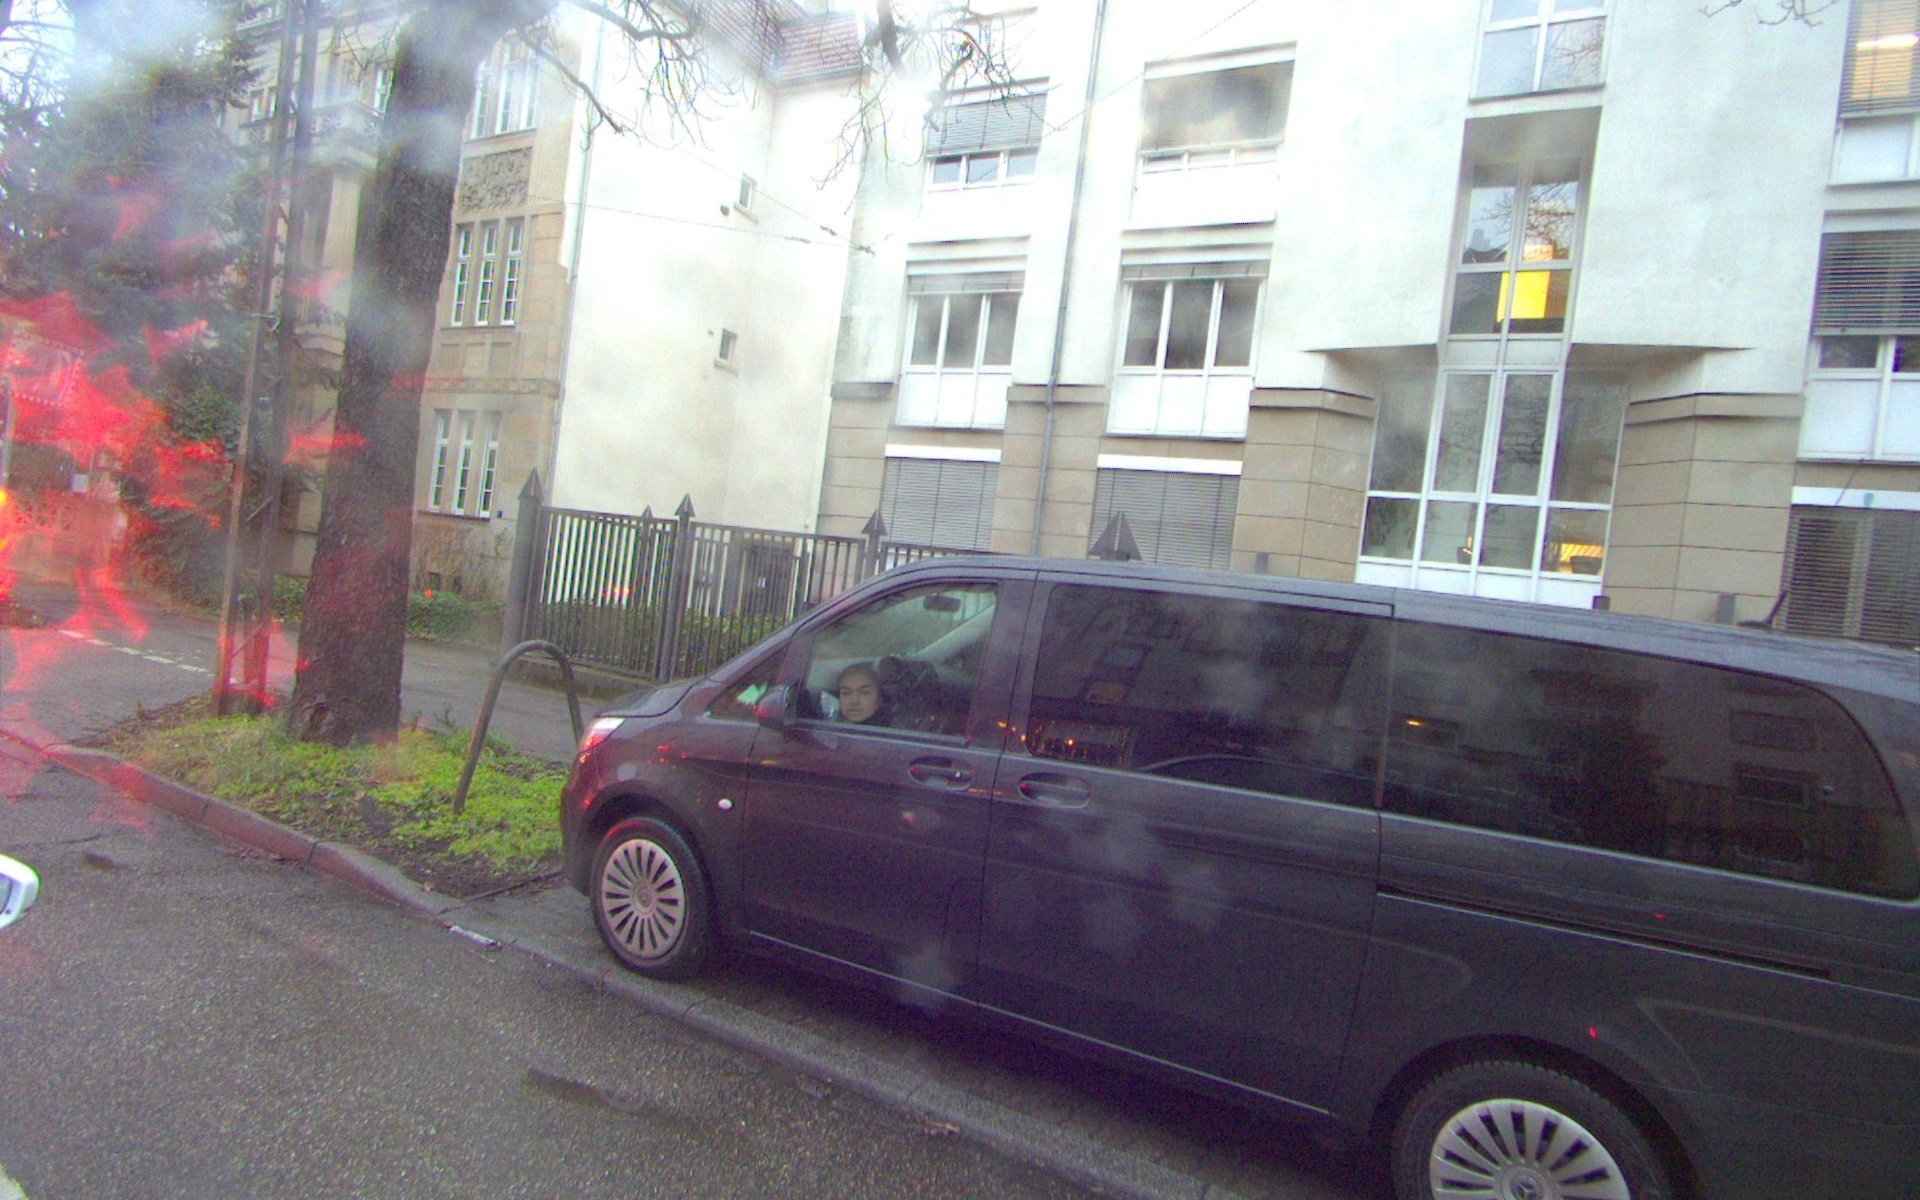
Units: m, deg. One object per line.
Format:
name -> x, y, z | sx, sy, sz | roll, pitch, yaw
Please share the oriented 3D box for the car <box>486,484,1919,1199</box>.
car -> 0.682, 0.784, 4.052 | 4.877, 1.899, 2.035 | 7, 0, 28
